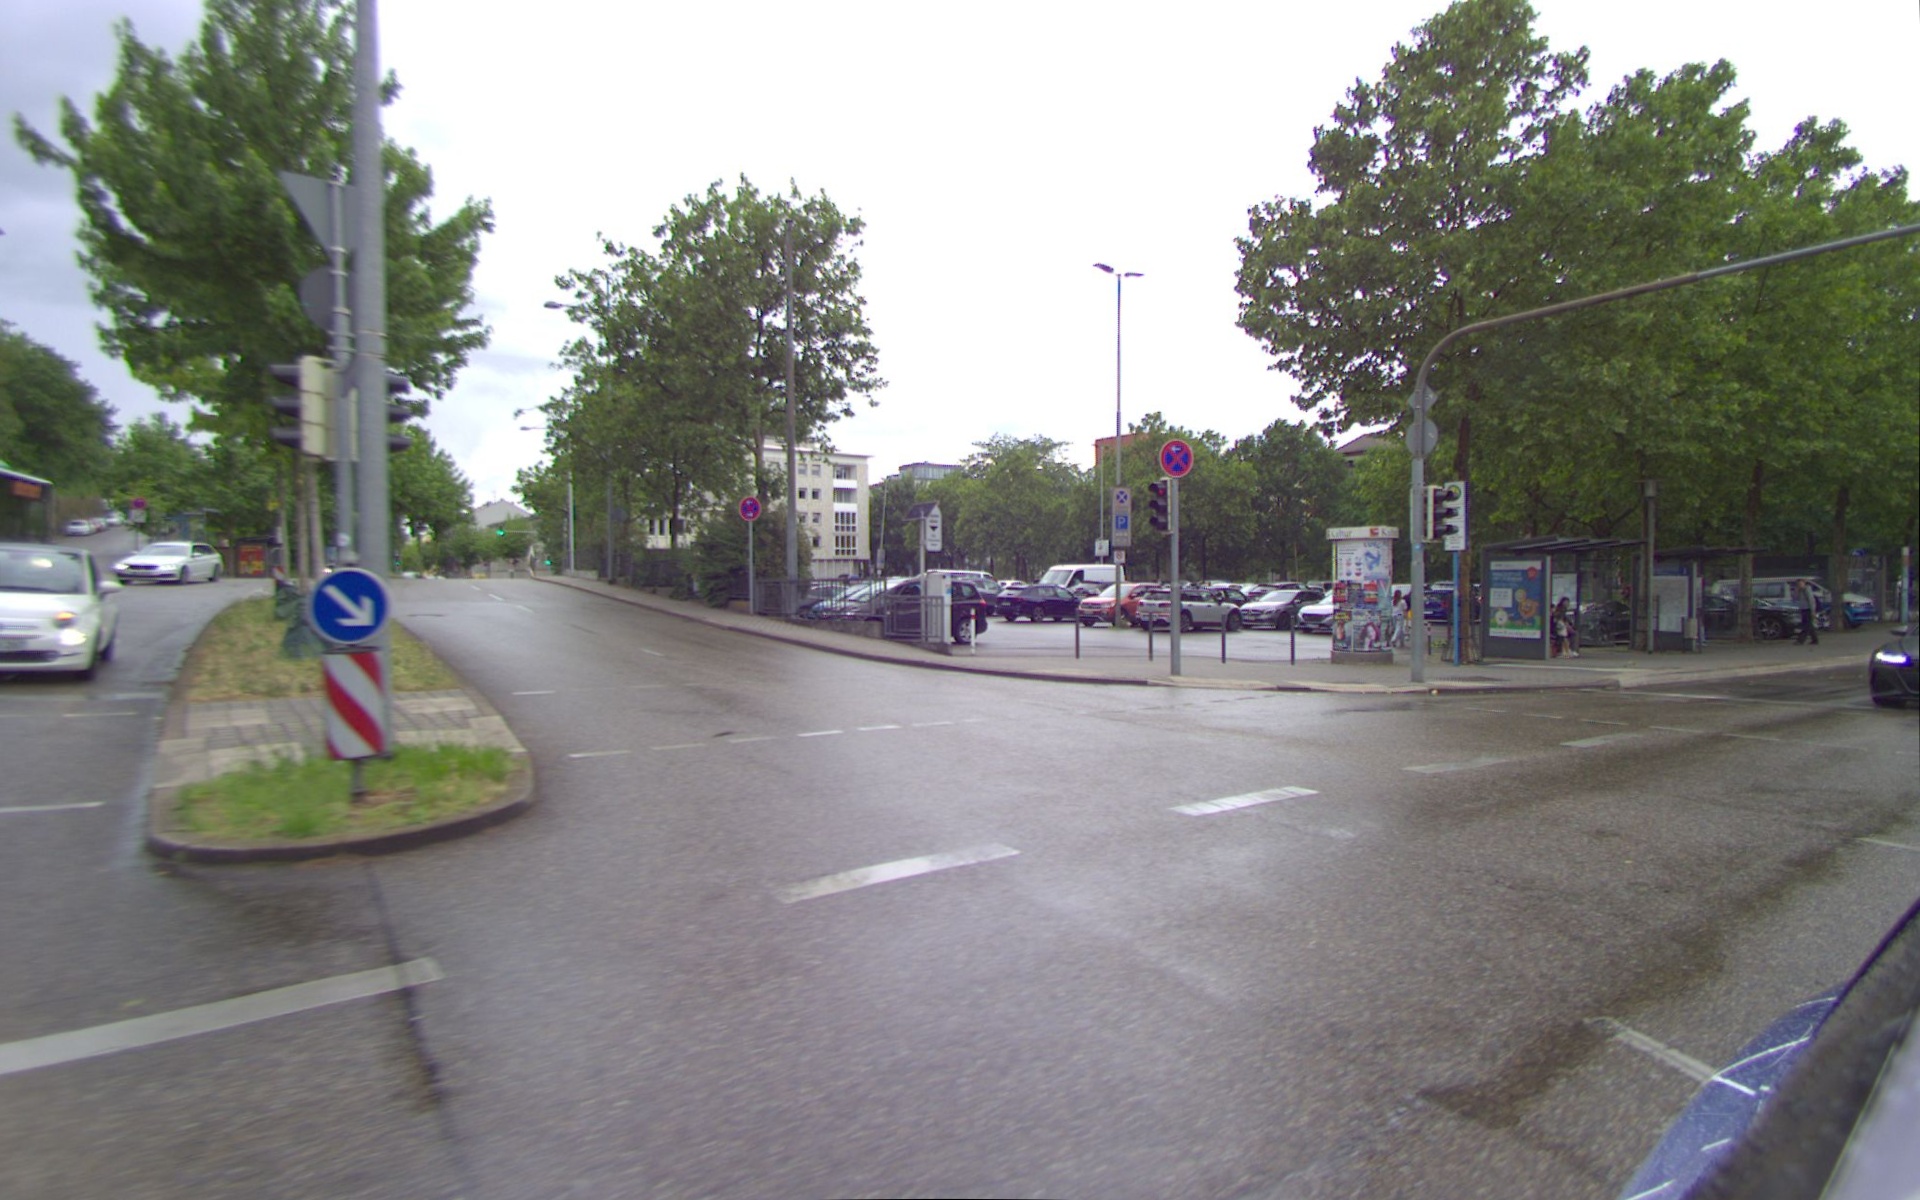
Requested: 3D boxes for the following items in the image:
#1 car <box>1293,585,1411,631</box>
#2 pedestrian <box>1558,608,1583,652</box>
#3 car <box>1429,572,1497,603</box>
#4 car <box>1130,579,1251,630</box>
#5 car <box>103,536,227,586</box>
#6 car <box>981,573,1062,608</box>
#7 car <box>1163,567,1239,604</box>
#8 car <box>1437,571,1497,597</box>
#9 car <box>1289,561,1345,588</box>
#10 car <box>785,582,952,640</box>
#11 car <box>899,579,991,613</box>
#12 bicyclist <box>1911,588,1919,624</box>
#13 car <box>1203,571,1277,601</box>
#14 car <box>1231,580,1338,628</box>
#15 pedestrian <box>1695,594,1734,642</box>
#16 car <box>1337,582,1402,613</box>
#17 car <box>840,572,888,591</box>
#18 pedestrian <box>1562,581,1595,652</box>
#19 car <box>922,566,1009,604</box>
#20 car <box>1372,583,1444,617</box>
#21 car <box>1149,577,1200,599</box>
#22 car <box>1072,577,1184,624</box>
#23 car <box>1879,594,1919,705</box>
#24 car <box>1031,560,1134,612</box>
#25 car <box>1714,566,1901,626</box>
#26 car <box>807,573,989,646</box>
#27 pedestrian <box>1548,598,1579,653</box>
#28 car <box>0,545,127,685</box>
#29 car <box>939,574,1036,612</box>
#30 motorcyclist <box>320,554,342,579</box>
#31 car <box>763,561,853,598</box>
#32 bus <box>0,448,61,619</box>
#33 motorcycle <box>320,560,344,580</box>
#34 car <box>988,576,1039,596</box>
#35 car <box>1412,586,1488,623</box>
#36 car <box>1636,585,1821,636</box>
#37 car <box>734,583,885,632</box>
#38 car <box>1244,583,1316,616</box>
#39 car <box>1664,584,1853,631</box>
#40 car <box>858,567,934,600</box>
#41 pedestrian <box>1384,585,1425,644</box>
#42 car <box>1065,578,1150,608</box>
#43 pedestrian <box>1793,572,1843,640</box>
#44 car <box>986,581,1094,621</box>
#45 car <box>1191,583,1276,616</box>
[{"bbox_3d":[13.527,0.265,34.831,4.362,1.458,1.738,0,2,-37],"label":"car"},{"bbox_3d":[14.695,0.710,24.366,0.363,1.048,0.402,0,0,-33],"label":"pedestrian"},{"bbox_3d":[29.336,-0.725,58.982,4.363,1.709,1.781,-2,1,-37],"label":"car"},{"bbox_3d":[7.884,0.128,34.499,4.099,1.610,1.762,0,2,-37],"label":"car"},{"bbox_3d":[-28.579,-1.385,36.570,1.958,1.673,4.887,0,2,-18],"label":"car"},{"bbox_3d":[3.089,-0.480,50.739,3.830,1.688,1.808,0,2,-38],"label":"car"},{"bbox_3d":[14.773,-0.880,61.943,4.797,2.181,1.971,0,2,-40],"label":"car"},{"bbox_3d":[31.874,-0.990,63.557,3.809,1.525,1.782,-2,1,-36],"label":"car"},{"bbox_3d":[24.534,-1.758,69.579,3.810,1.709,1.781,-2,1,-37],"label":"car"},{"bbox_3d":[-2.454,0.245,27.566,4.183,1.458,1.856,-1,2,-37],"label":"car"},{"bbox_3d":[-0.677,-0.179,46.798,3.921,1.462,1.663,0,1,-32],"label":"car"},{"bbox_3d":[48.767,0.289,51.140,0.982,1.792,0.786,0,1,38],"label":"bicyclist"},{"bbox_3d":[16.500,-0.808,59.534,4.548,1.691,1.971,0,2,-40],"label":"car"},{"bbox_3d":[11.940,0.132,37.121,3.925,1.610,1.762,0,2,-37],"label":"car"},{"bbox_3d":[21.355,0.503,28.652,0.613,1.338,0.634,-2,0,-22],"label":"pedestrian"},{"bbox_3d":[21.594,-0.127,53.306,3.565,1.577,1.532,0,2,-37],"label":"car"},{"bbox_3d":[-8.285,-1.608,87.648,3.859,1.566,1.639,-2,1,-38],"label":"car"},{"bbox_3d":[15.104,0.391,24.719,0.533,1.717,0.552,1,0,15],"label":"pedestrian"},{"bbox_3d":[0.315,-0.765,52.504,4.284,1.853,1.833,0,2,-38],"label":"car"},{"bbox_3d":[22.259,0.001,50.232,3.539,1.612,1.534,0,1,-32],"label":"car"},{"bbox_3d":[15.407,-0.878,72.550,3.532,1.442,1.640,-2,1,-37],"label":"car"},{"bbox_3d":[6.156,0.009,36.929,3.925,1.610,1.762,0,2,-37],"label":"car"},{"bbox_3d":[14.466,0.638,13.857,4.278,1.422,1.898,-1,1,-35],"label":"car"},{"bbox_3d":[5.797,-0.654,47.566,4.923,2.348,1.971,0,2,-40],"label":"car"},{"bbox_3d":[30.936,-0.096,37.109,1.913,1.967,4.852,-2,-1,-32],"label":"car"},{"bbox_3d":[-1.479,0.178,24.908,4.183,1.633,1.805,-1,2,-37],"label":"car"},{"bbox_3d":[14.386,0.598,24.123,0.394,1.287,0.500,0,0,-33],"label":"pedestrian"},{"bbox_3d":[-11.100,0.124,12.022,1.560,1.470,3.569,1,0,-35],"label":"car"},{"bbox_3d":[1.217,-0.316,44.423,3.921,1.585,1.764,0,1,-32],"label":"car"},{"bbox_3d":[-37.063,-1.980,59.655,0.789,1.455,1.243,0,1,-18],"label":"motorcyclist"},{"bbox_3d":[-10.557,-1.414,70.639,5.936,2.389,2.230,0,2,-40],"label":"car"},{"bbox_3d":[-19.619,-1.269,19.016,2.635,3.220,8.566,1,0,-32],"label":"bus"},{"bbox_3d":[-37.103,-1.782,59.803,0.559,1.132,2.695,0,2,-18],"label":"motorcycle"},{"bbox_3d":[3.514,-0.893,66.350,3.300,1.251,1.529,0,2,-45],"label":"car"},{"bbox_3d":[20.961,0.149,43.292,3.295,1.440,1.640,-2,1,-38],"label":"car"},{"bbox_3d":[24.758,0.364,32.754,1.829,1.503,4.410,-2,-1,-38],"label":"car"},{"bbox_3d":[-4.549,0.181,30.788,4.183,1.371,1.856,-1,2,-37],"label":"car"},{"bbox_3d":[15.418,-0.027,48.708,3.565,1.523,1.532,0,2,-37],"label":"car"},{"bbox_3d":[27.389,0.288,34.893,1.826,1.423,4.754,-2,-1,-32],"label":"car"},{"bbox_3d":[-3.852,-0.991,61.231,4.284,1.853,1.833,0,2,-38],"label":"car"},{"bbox_3d":[12.874,0.410,29.315,0.844,1.653,0.768,0,0,-34],"label":"pedestrian"},{"bbox_3d":[6.395,-0.301,43.755,3.565,1.251,1.532,0,2,-37],"label":"car"},{"bbox_3d":[24.108,0.152,28.446,0.721,1.865,0.756,-2,0,6],"label":"pedestrian"},{"bbox_3d":[3.135,0.024,39.646,3.921,1.467,1.764,0,2,-32],"label":"car"},{"bbox_3d":[10.800,-0.024,39.916,3.293,1.251,1.532,0,2,-37],"label":"car"}]
